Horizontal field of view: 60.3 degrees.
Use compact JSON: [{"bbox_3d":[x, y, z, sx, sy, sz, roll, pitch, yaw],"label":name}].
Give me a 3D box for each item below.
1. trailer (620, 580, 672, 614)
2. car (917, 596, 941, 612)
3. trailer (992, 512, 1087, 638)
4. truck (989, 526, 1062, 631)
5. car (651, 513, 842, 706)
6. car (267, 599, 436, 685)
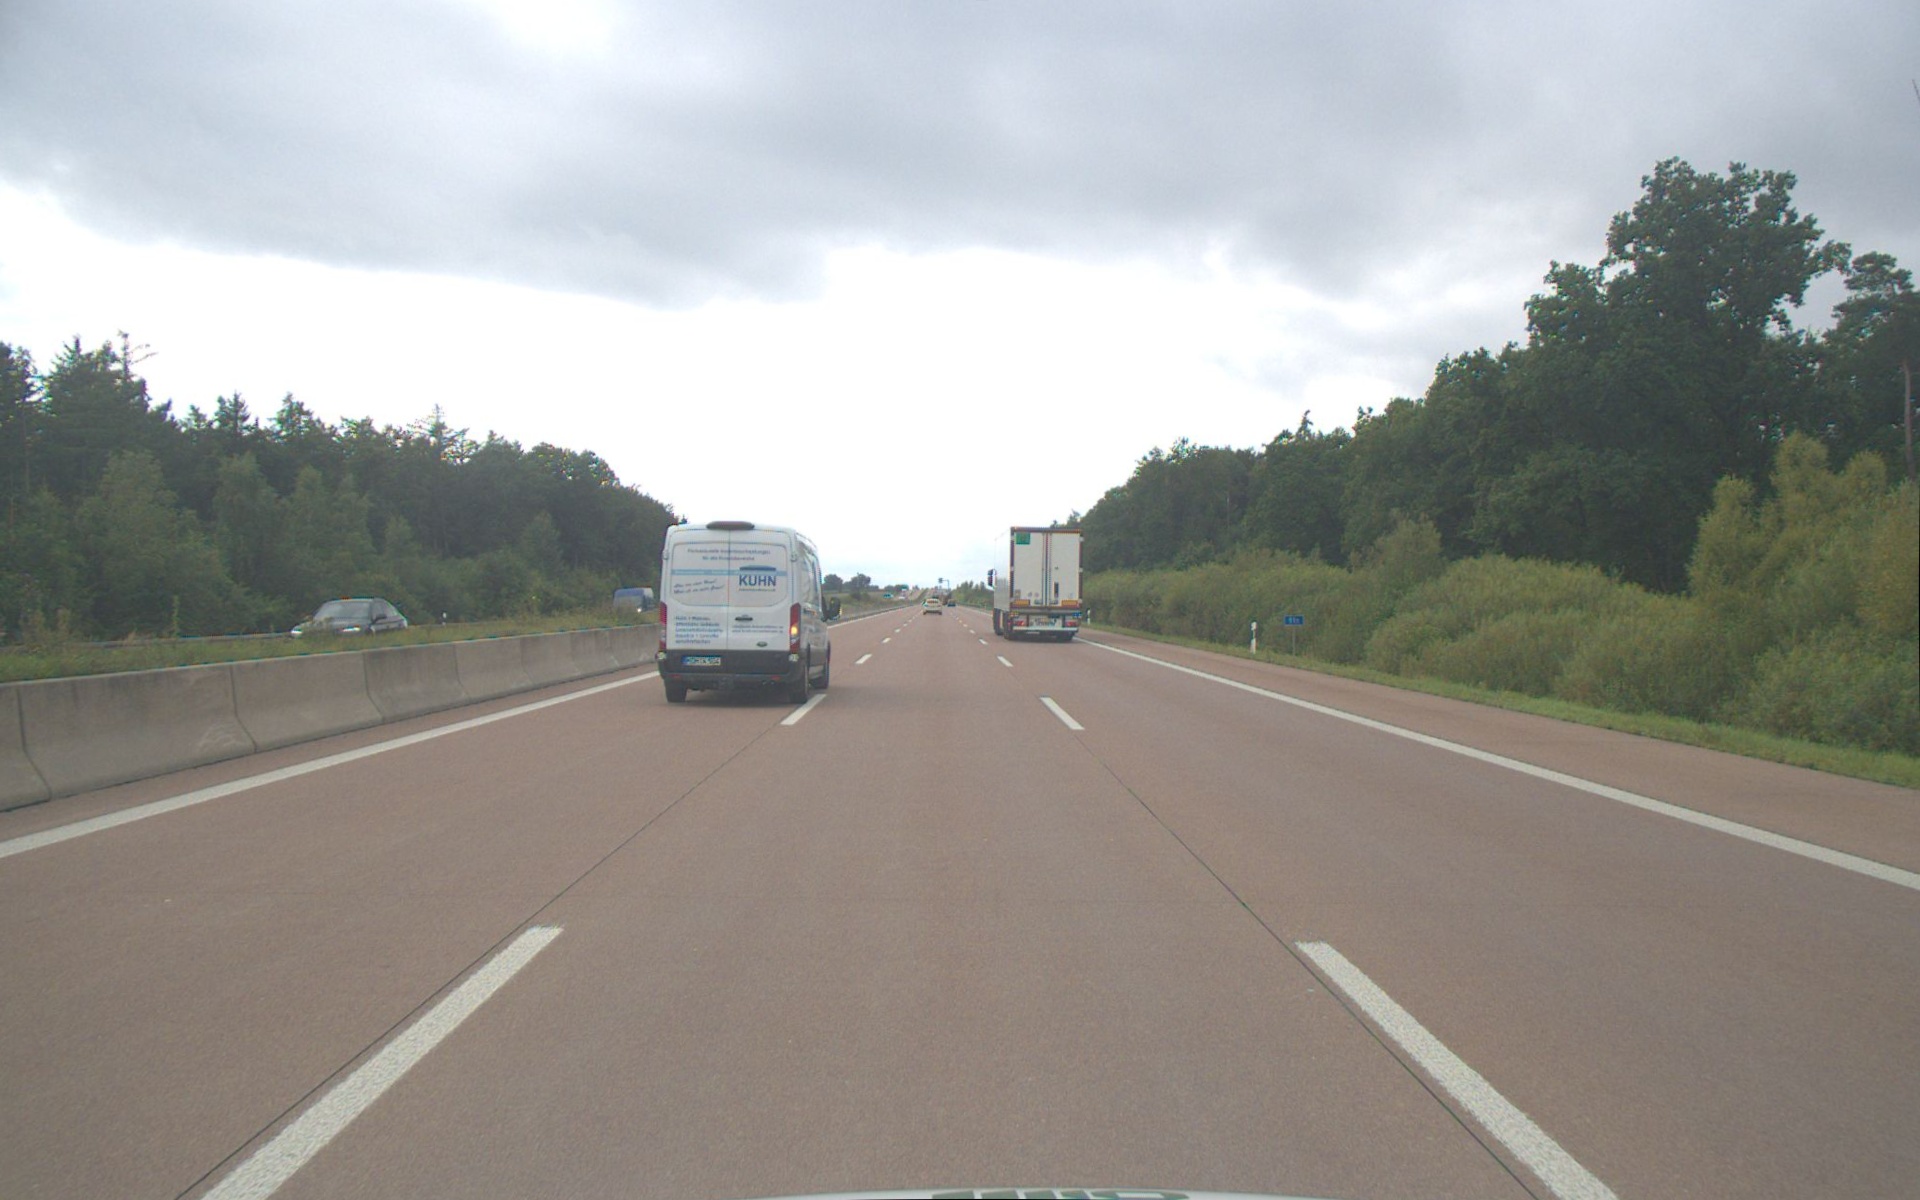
[{"bbox_3d":[-20.668,-0.196,109.031,2.284,2.199,6.188,1,0,-1],"label":"trailer"},{"bbox_3d":[-3.041,0.391,161.271,2.119,1.476,4.719,2,0,1],"label":"car"},{"bbox_3d":[2.900,-0.862,64.100,2.862,4.369,13.611,0,0,-1],"label":"trailer"},{"bbox_3d":[2.798,-0.888,71.653,2.862,4.369,5.334,0,0,-1],"label":"truck"},{"bbox_3d":[-3.079,0.097,25.437,2.094,2.551,7.130,0,0,-1],"label":"car"},{"bbox_3d":[-15.790,1.029,43.314,2.299,2.065,5.853,1,0,-1],"label":"car"}]
